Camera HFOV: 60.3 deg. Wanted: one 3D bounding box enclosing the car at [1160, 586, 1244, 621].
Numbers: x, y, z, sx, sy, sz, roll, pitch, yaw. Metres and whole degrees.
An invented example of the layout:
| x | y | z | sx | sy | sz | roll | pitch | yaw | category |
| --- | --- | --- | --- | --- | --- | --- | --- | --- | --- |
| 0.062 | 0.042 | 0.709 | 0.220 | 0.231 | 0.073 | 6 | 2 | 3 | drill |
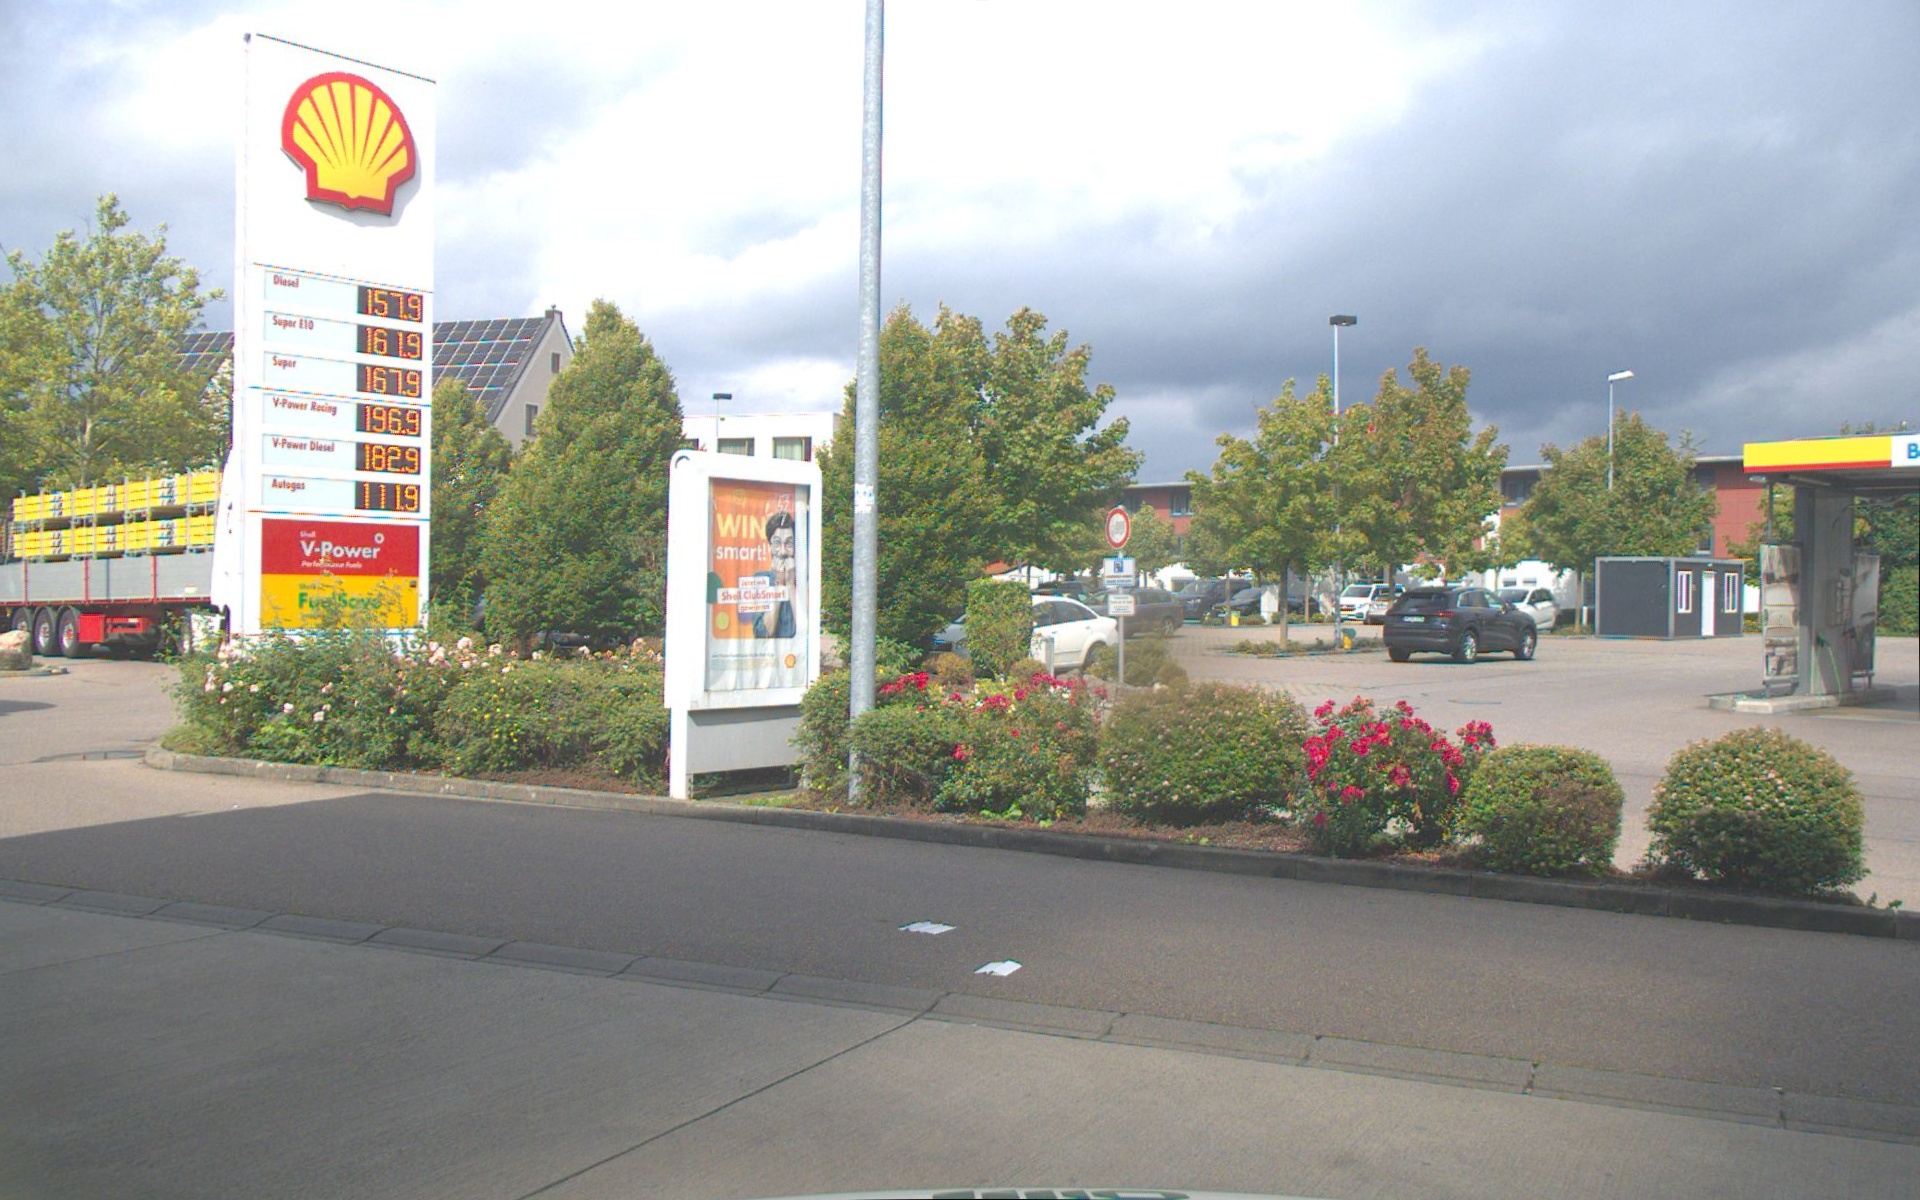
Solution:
| x | y | z | sx | sy | sz | roll | pitch | yaw | category |
| --- | --- | --- | --- | --- | --- | --- | --- | --- | --- |
| 9.813 | 0.151 | 66.941 | 3.364 | 1.343 | 1.719 | 1 | 0 | -45 | car |

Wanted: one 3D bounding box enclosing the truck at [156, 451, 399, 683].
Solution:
| x | y | z | sx | sy | sz | roll | pitch | yaw | category |
| --- | --- | --- | --- | --- | --- | --- | --- | --- | --- |
| -12.930 | -0.554 | 31.059 | 2.714 | 3.913 | 5.838 | 1 | 0 | -38 | truck |

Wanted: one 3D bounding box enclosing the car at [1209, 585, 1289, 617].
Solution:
| x | y | z | sx | sy | sz | roll | pitch | yaw | category |
| --- | --- | --- | --- | --- | --- | --- | --- | --- | --- |
| 11.415 | 0.048 | 65.219 | 3.393 | 1.199 | 1.462 | 1 | 0 | -45 | car |

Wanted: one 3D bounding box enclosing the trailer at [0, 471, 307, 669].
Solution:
| x | y | z | sx | sy | sz | roll | pitch | yaw | category |
| --- | --- | --- | --- | --- | --- | --- | --- | --- | --- |
| -19.186 | -0.636 | 37.186 | 12.476 | 3.842 | 2.725 | 1 | 0 | 40 | trailer |

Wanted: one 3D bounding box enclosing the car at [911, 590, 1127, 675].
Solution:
| x | y | z | sx | sy | sz | roll | pitch | yaw | category |
| --- | --- | --- | --- | --- | --- | --- | --- | --- | --- |
| 1.135 | 0.581 | 29.946 | 1.348 | 1.428 | 4.312 | 1 | -1 | 45 | car |

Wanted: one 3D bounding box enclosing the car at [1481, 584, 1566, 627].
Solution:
| x | y | z | sx | sy | sz | roll | pitch | yaw | category |
| --- | --- | --- | --- | --- | --- | --- | --- | --- | --- |
| 18.009 | 0.178 | 52.815 | 3.080 | 1.330 | 1.346 | 1 | -1 | -45 | car |

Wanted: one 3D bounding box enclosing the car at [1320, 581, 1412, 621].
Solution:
| x | y | z | sx | sy | sz | roll | pitch | yaw | category |
| --- | --- | --- | --- | --- | --- | --- | --- | --- | --- |
| 19.917 | 0.044 | 80.955 | 4.839 | 1.865 | 2.150 | 1 | 0 | -44 | car |

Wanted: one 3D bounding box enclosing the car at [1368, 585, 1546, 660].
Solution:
| x | y | z | sx | sy | sz | roll | pitch | yaw | category |
| --- | --- | --- | --- | --- | --- | --- | --- | --- | --- |
| 11.132 | 0.493 | 36.902 | 4.467 | 1.575 | 1.856 | 1 | 0 | -44 | car |

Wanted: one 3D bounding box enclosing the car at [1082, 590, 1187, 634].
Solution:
| x | y | z | sx | sy | sz | roll | pitch | yaw | category |
| --- | --- | --- | --- | --- | --- | --- | --- | --- | --- |
| 5.280 | 0.372 | 49.801 | 3.203 | 1.249 | 1.481 | 1 | 0 | -45 | car |
